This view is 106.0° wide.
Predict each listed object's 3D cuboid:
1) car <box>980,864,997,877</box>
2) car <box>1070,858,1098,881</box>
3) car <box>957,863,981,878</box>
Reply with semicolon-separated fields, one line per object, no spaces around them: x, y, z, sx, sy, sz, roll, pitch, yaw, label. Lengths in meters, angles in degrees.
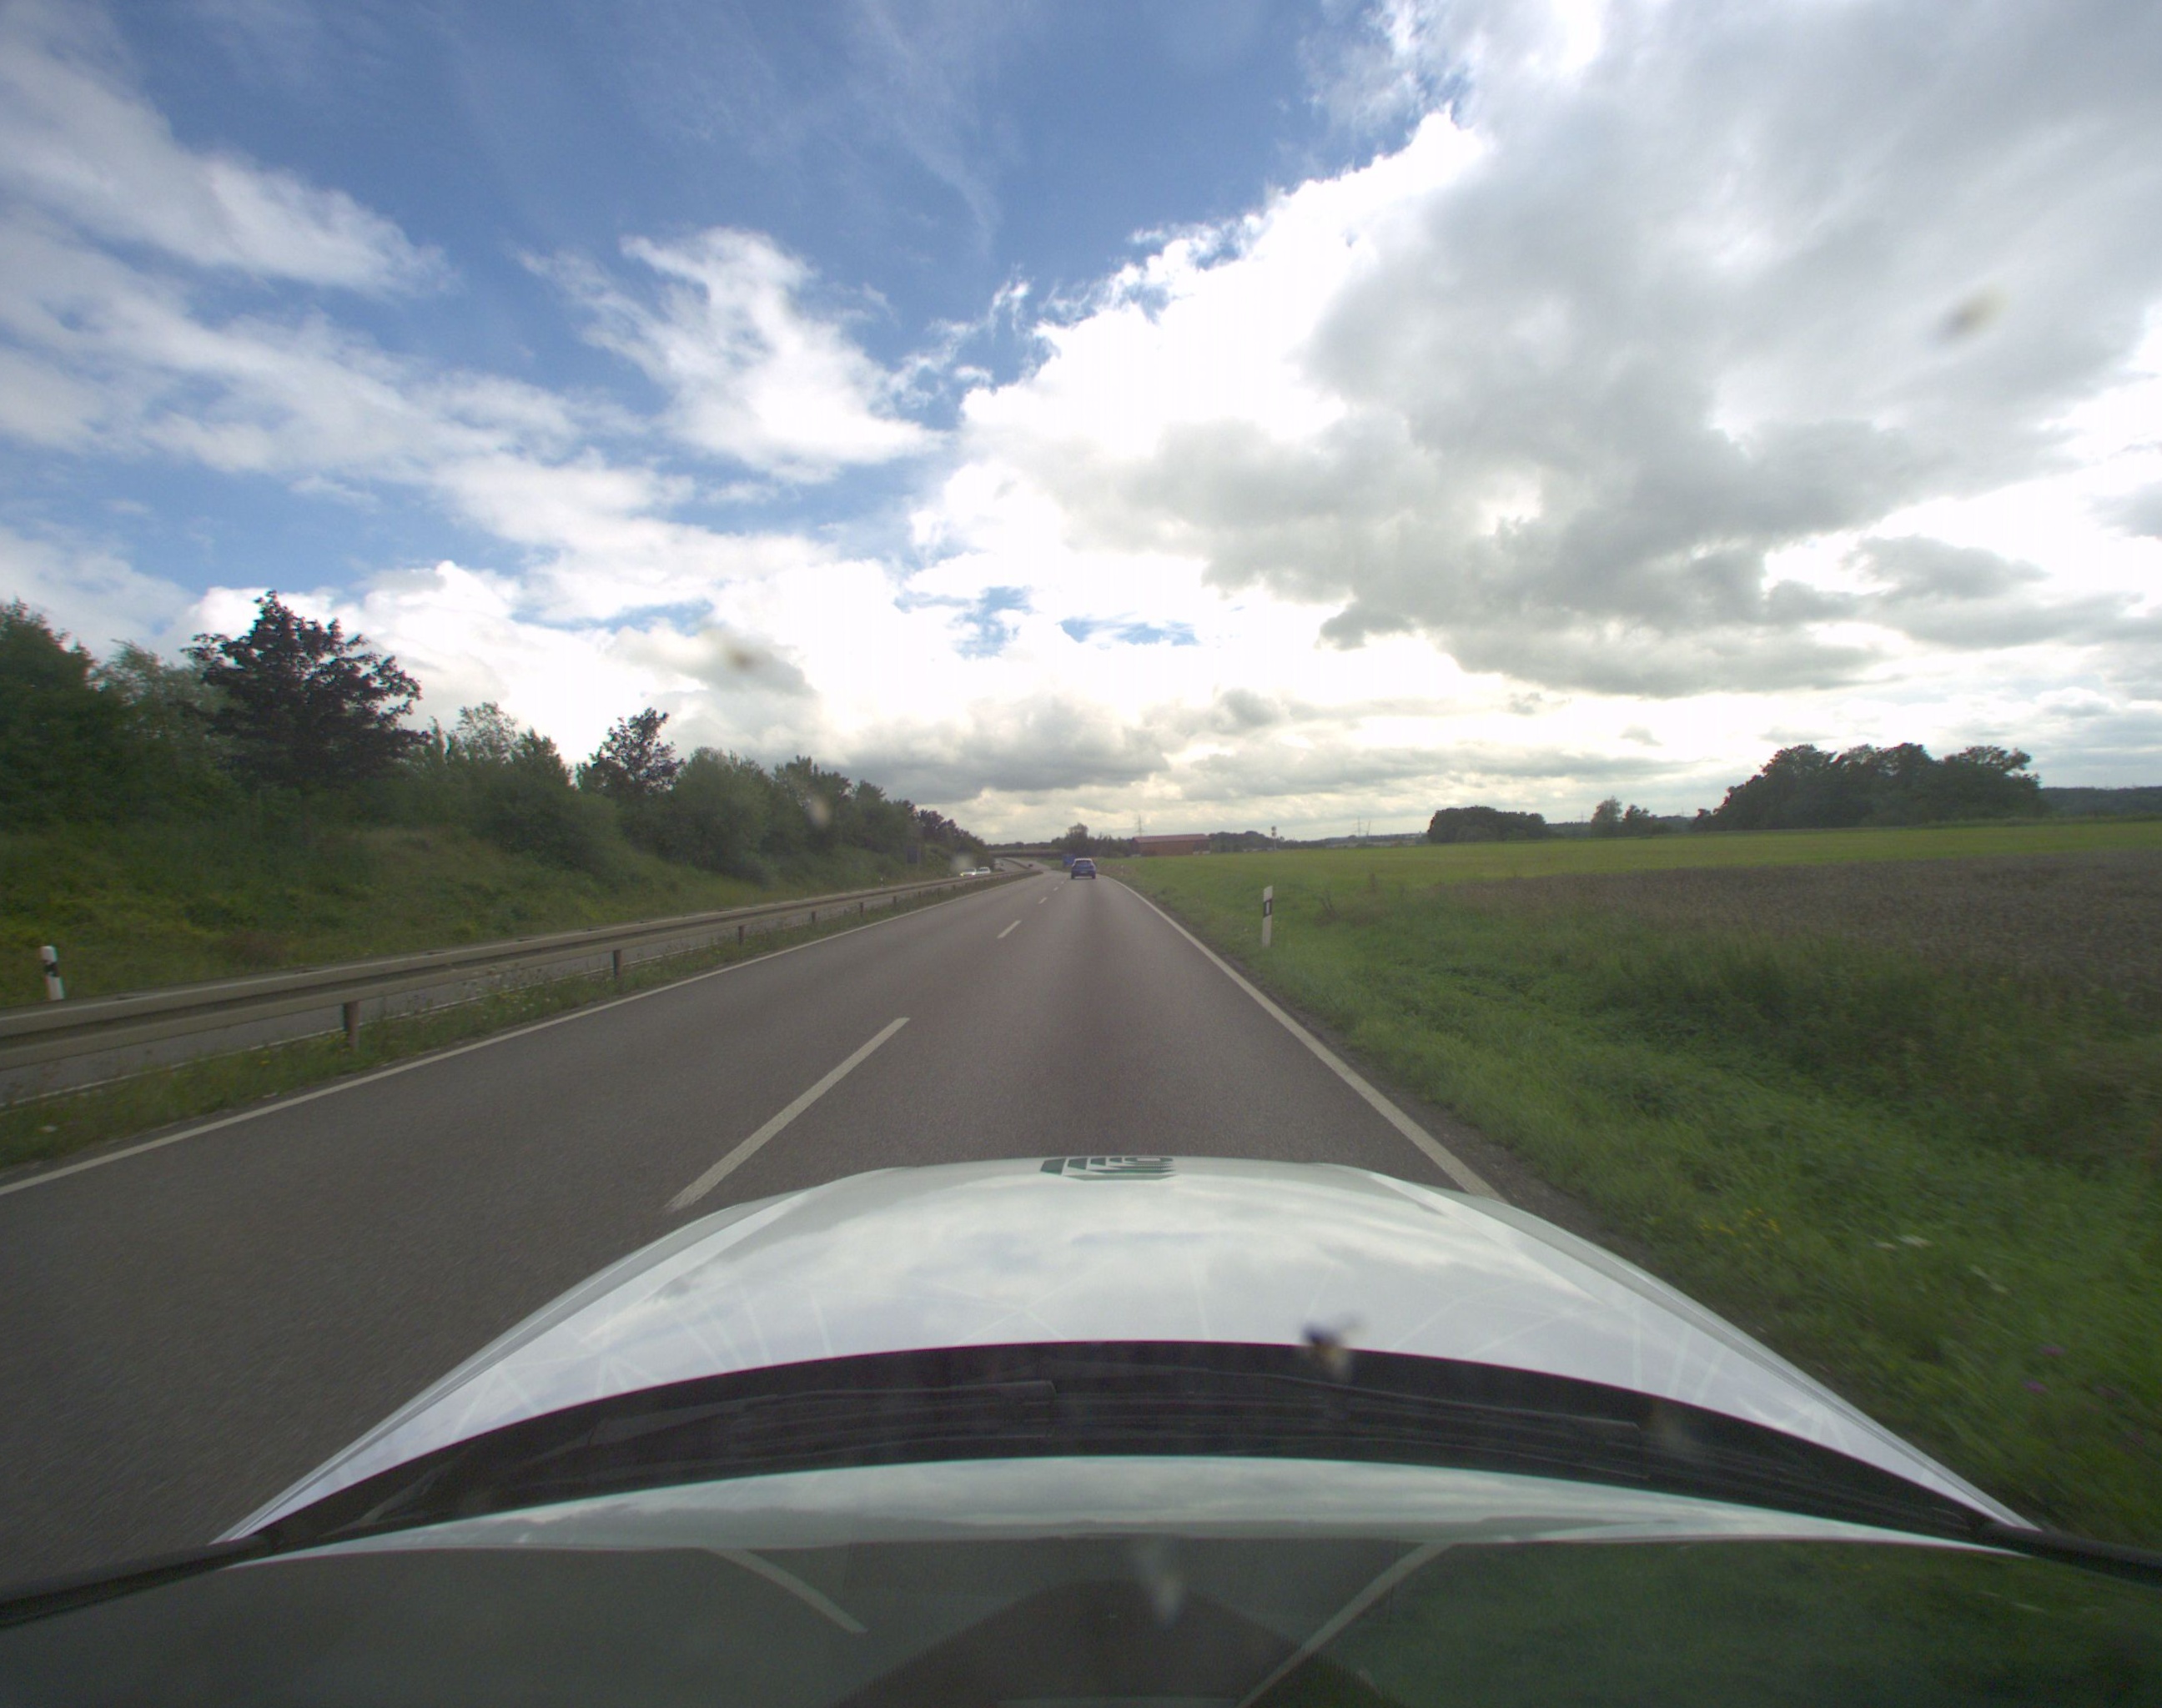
-13.014;2.308;114.613;1.915;1.518;4.461;-3;1;-1;car
0.192;1.175;64.980;2.027;1.660;4.541;-1;0;-1;car
-13.038;1.911;94.980;1.987;1.518;4.987;-3;1;0;car
